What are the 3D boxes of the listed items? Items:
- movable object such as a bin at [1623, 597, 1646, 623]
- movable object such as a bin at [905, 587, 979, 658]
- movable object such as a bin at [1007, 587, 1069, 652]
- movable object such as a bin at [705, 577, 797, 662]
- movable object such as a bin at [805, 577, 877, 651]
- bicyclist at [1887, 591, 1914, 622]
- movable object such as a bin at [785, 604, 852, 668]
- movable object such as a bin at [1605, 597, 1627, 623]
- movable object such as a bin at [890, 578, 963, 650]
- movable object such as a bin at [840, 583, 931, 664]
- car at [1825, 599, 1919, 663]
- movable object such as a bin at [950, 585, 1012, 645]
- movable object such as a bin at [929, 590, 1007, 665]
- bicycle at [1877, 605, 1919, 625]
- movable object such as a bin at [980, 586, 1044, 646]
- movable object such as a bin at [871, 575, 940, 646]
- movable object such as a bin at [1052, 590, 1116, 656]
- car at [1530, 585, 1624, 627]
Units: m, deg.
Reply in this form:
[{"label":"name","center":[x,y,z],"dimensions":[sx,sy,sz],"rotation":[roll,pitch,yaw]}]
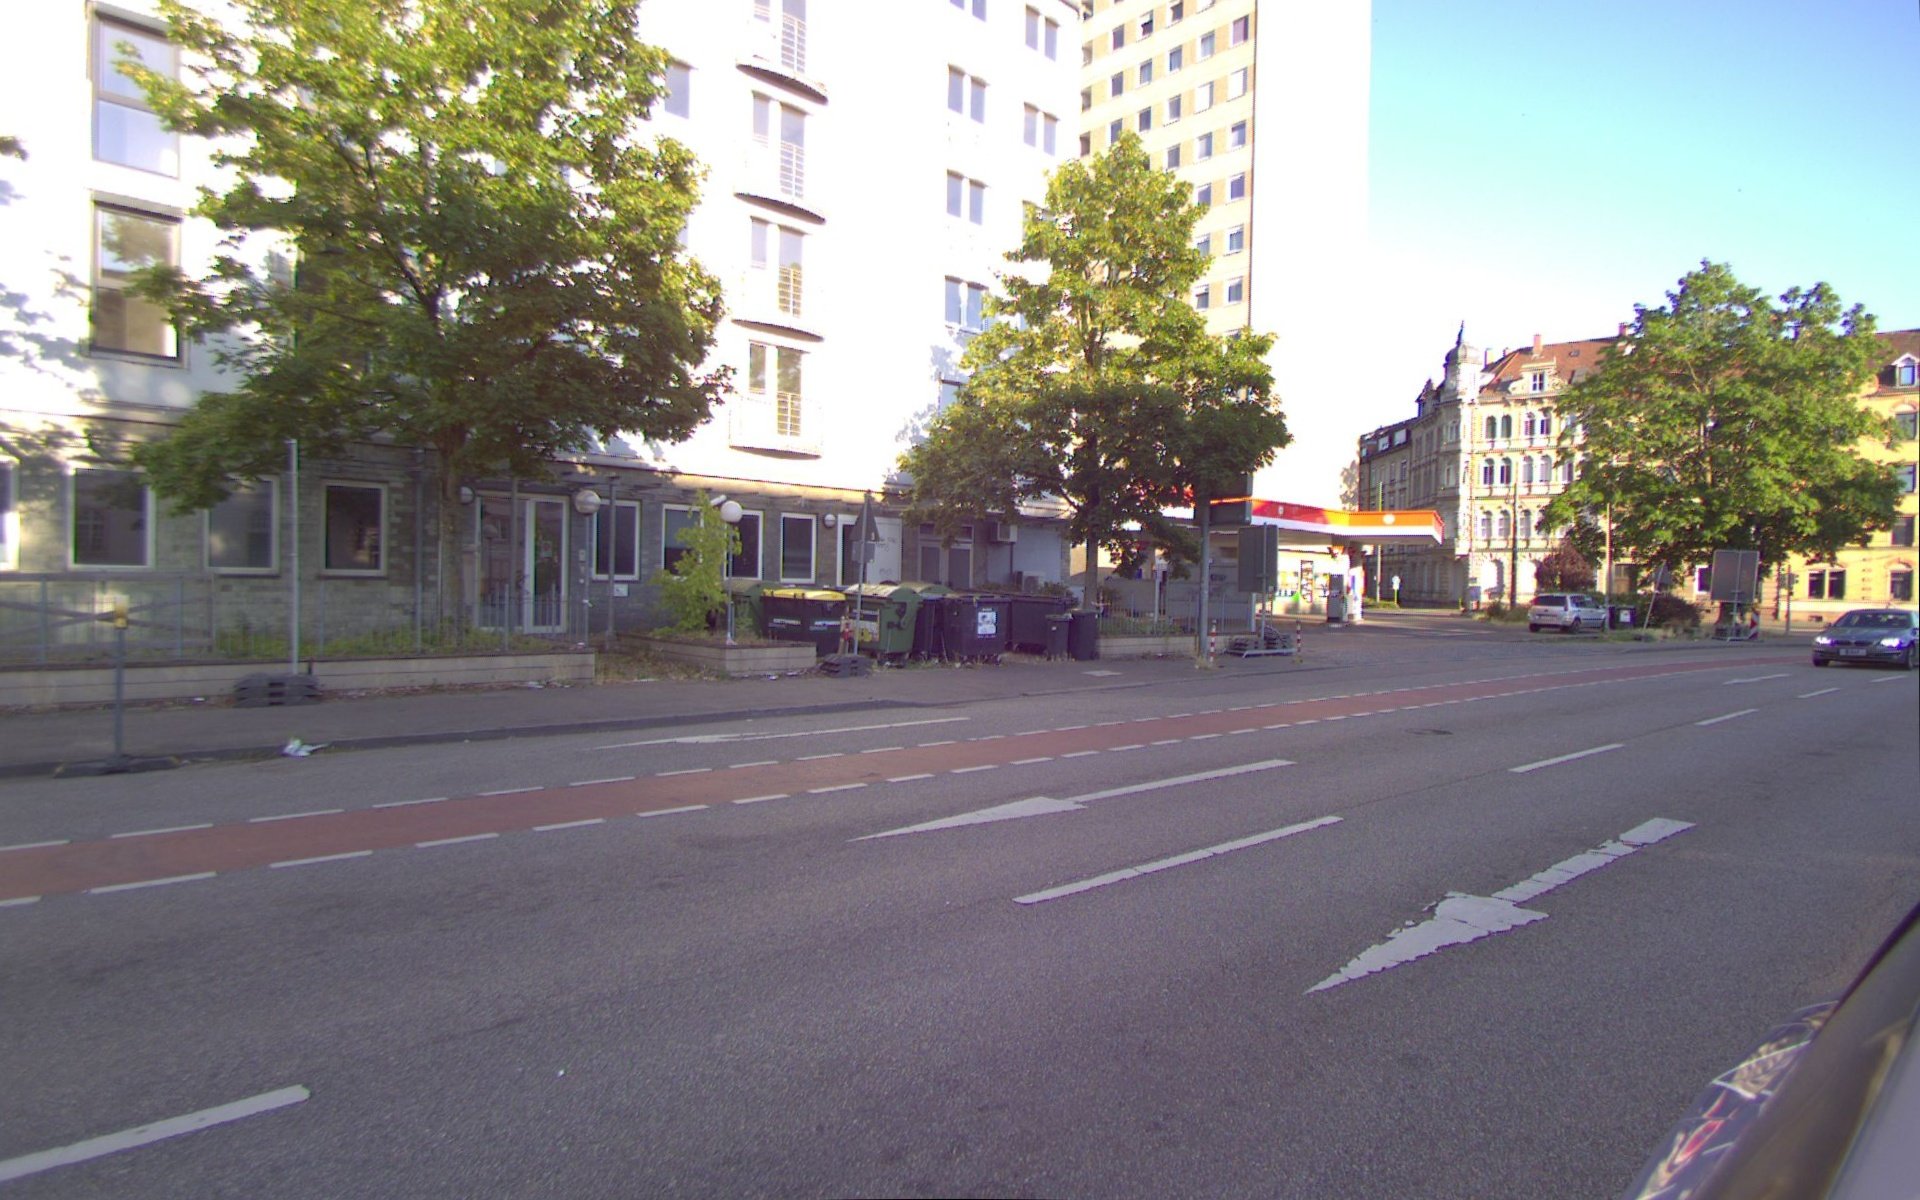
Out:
[{"label":"movable object such as a bin","center":[27.545,0.420,41.325],"dimensions":[0.674,1.031,0.544],"rotation":[0,1,-36]},{"label":"movable object such as a bin","center":[-0.359,0.428,20.352],"dimensions":[1.143,1.345,0.954],"rotation":[0,1,-43]},{"label":"movable object such as a bin","center":[1.695,0.406,21.925],"dimensions":[0.938,1.345,0.954],"rotation":[0,1,-43]},{"label":"movable object such as a bin","center":[-3.867,0.324,18.700],"dimensions":[1.088,1.479,1.348],"rotation":[0,1,-45]},{"label":"movable object such as a bin","center":[-2.579,0.284,21.917],"dimensions":[1.143,1.517,1.033],"rotation":[0,1,-43]},{"label":"bicyclist","center":[51.772,0.356,55.730],"dimensions":[1.062,1.669,0.721],"rotation":[2,1,43]},{"label":"movable object such as a bin","center":[-2.482,0.615,17.765],"dimensions":[0.806,1.058,0.851],"rotation":[0,1,-45]},{"label":"movable object such as a bin","center":[27.233,0.405,42.011],"dimensions":[0.674,1.031,0.544],"rotation":[0,1,-36]},{"label":"movable object such as a bin","center":[-0.714,0.274,21.481],"dimensions":[1.143,1.467,1.033],"rotation":[0,1,-43]},{"label":"movable object such as a bin","center":[-1.411,0.410,19.109],"dimensions":[1.088,1.441,1.348],"rotation":[0,1,-45]},{"label":"car","center":[23.517,0.723,25.446],"dimensions":[4.581,1.467,1.819],"rotation":[0,0,-38]},{"label":"movable object such as a bin","center":[0.490,0.323,23.633],"dimensions":[1.080,1.345,0.954],"rotation":[0,1,-43]},{"label":"movable object such as a bin","center":[0.157,0.502,19.321],"dimensions":[1.143,1.345,0.954],"rotation":[0,1,-43]},{"label":"bicycle","center":[51.719,0.820,55.651],"dimensions":[1.921,1.072,0.444],"rotation":[2,1,43]},{"label":"movable object such as a bin","center":[1.168,0.344,22.903],"dimensions":[1.080,1.299,0.954],"rotation":[0,1,-43]},{"label":"movable object such as a bin","center":[-1.216,0.222,22.615],"dimensions":[1.143,1.517,1.033],"rotation":[0,1,-43]},{"label":"movable object such as a bin","center":[2.624,0.462,21.457],"dimensions":[0.938,1.345,0.954],"rotation":[0,1,-43]},{"label":"car","center":[23.890,0.206,39.140],"dimensions":[3.723,1.535,1.691],"rotation":[0,2,-34]}]
